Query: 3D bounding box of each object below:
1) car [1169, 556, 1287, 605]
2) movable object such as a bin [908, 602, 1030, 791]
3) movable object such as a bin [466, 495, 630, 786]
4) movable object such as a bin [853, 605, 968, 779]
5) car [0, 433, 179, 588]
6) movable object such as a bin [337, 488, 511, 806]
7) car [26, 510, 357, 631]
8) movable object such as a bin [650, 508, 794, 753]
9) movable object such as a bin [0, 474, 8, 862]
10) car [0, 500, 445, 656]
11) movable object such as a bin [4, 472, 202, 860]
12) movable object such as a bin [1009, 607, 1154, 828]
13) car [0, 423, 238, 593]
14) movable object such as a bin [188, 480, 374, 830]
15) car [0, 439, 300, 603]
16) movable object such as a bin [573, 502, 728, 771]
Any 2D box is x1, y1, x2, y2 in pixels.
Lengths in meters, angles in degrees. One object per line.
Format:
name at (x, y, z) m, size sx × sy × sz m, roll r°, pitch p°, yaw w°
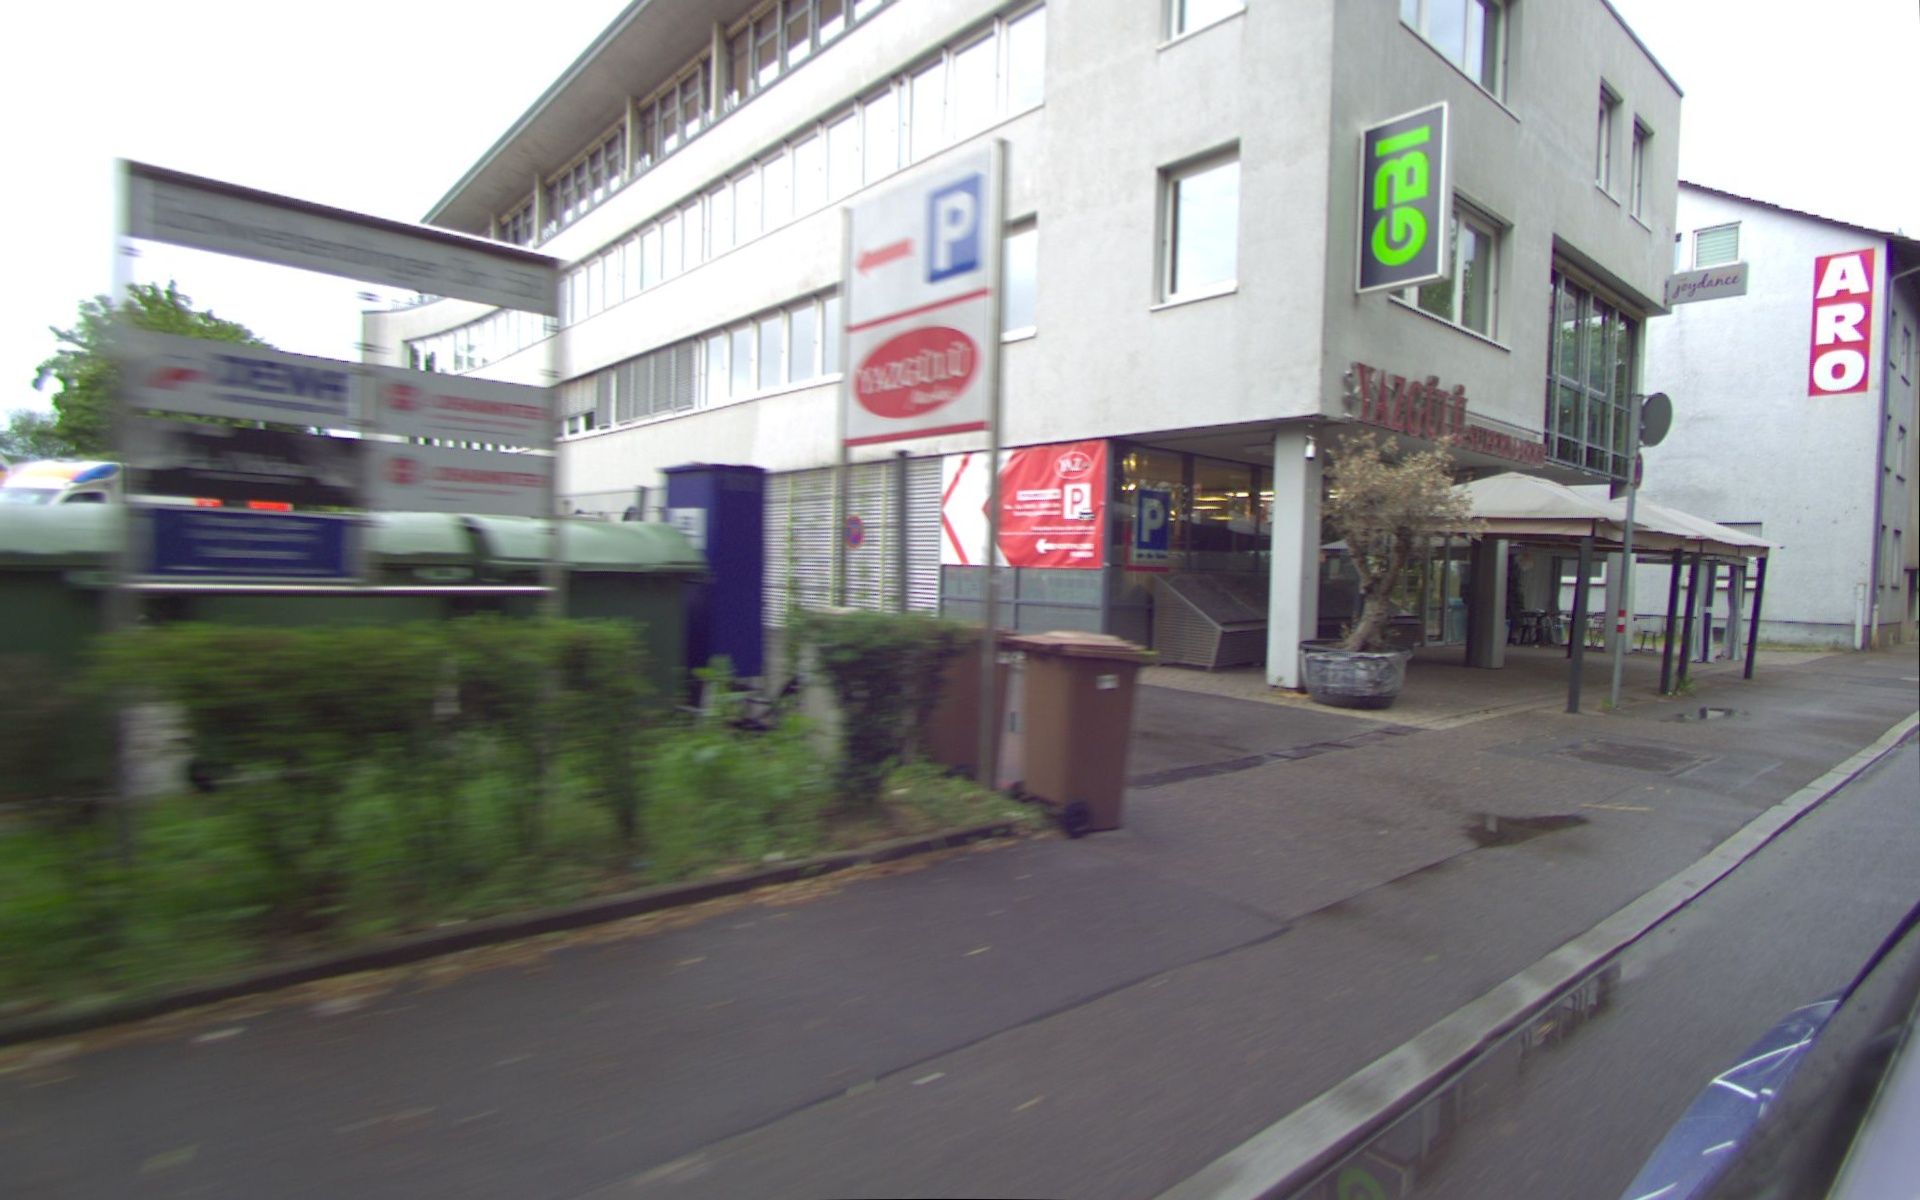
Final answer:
car at (10.903, -0.822, 41.344) m, size 1.986 × 1.894 × 4.311 m, roll -1°, pitch 2°, yaw -40°
movable object such as a bin at (0.056, 0.586, 6.539) m, size 0.550 × 1.129 × 0.532 m, roll 0°, pitch 2°, yaw -38°
movable object such as a bin at (-2.356, 0.194, 5.769) m, size 0.615 × 1.526 × 0.738 m, roll 0°, pitch 2°, yaw -44°
movable object such as a bin at (-0.348, 0.611, 7.094) m, size 0.607 × 1.129 × 0.505 m, roll 0°, pitch 2°, yaw -41°
car at (-20.530, -1.834, 21.501) m, size 2.110 × 3.164 × 6.163 m, roll 0°, pitch 0°, yaw 17°
movable object such as a bin at (-2.828, 0.211, 5.331) m, size 0.615 × 1.527 × 0.738 m, roll 0°, pitch 2°, yaw -44°
car at (-10.805, -0.419, 14.439) m, size 1.512 × 1.504 × 3.476 m, roll 3°, pitch 2°, yaw 34°
movable object such as a bin at (-1.598, 0.172, 6.767) m, size 0.615 × 1.527 × 0.738 m, roll 0°, pitch 2°, yaw -44°
movable object such as a bin at (-4.211, 0.252, 4.020) m, size 0.615 × 1.519 × 0.738 m, roll 0°, pitch 2°, yaw -44°
car at (-8.340, -0.313, 11.621) m, size 4.062 × 1.504 × 1.667 m, roll -2°, pitch 4°, yaw -41°
movable object such as a bin at (-3.781, 0.243, 4.457) m, size 0.615 × 1.527 × 0.738 m, roll 0°, pitch 2°, yaw -44°
movable object such as a bin at (0.678, 0.617, 5.668) m, size 0.607 × 1.129 × 0.505 m, roll 0°, pitch 2°, yaw -41°
car at (-18.463, -1.729, 20.563) m, size 2.110 × 3.164 × 6.163 m, roll 0°, pitch 0°, yaw 17°
movable object such as a bin at (-3.289, 0.224, 4.893) m, size 0.615 × 1.527 × 0.738 m, roll 0°, pitch 2°, yaw -44°
car at (-16.333, -1.346, 19.502) m, size 2.110 × 2.734 × 6.163 m, roll 0°, pitch 0°, yaw 17°
movable object such as a bin at (-1.907, 0.189, 6.220) m, size 0.615 × 1.527 × 0.738 m, roll 0°, pitch 2°, yaw -44°
